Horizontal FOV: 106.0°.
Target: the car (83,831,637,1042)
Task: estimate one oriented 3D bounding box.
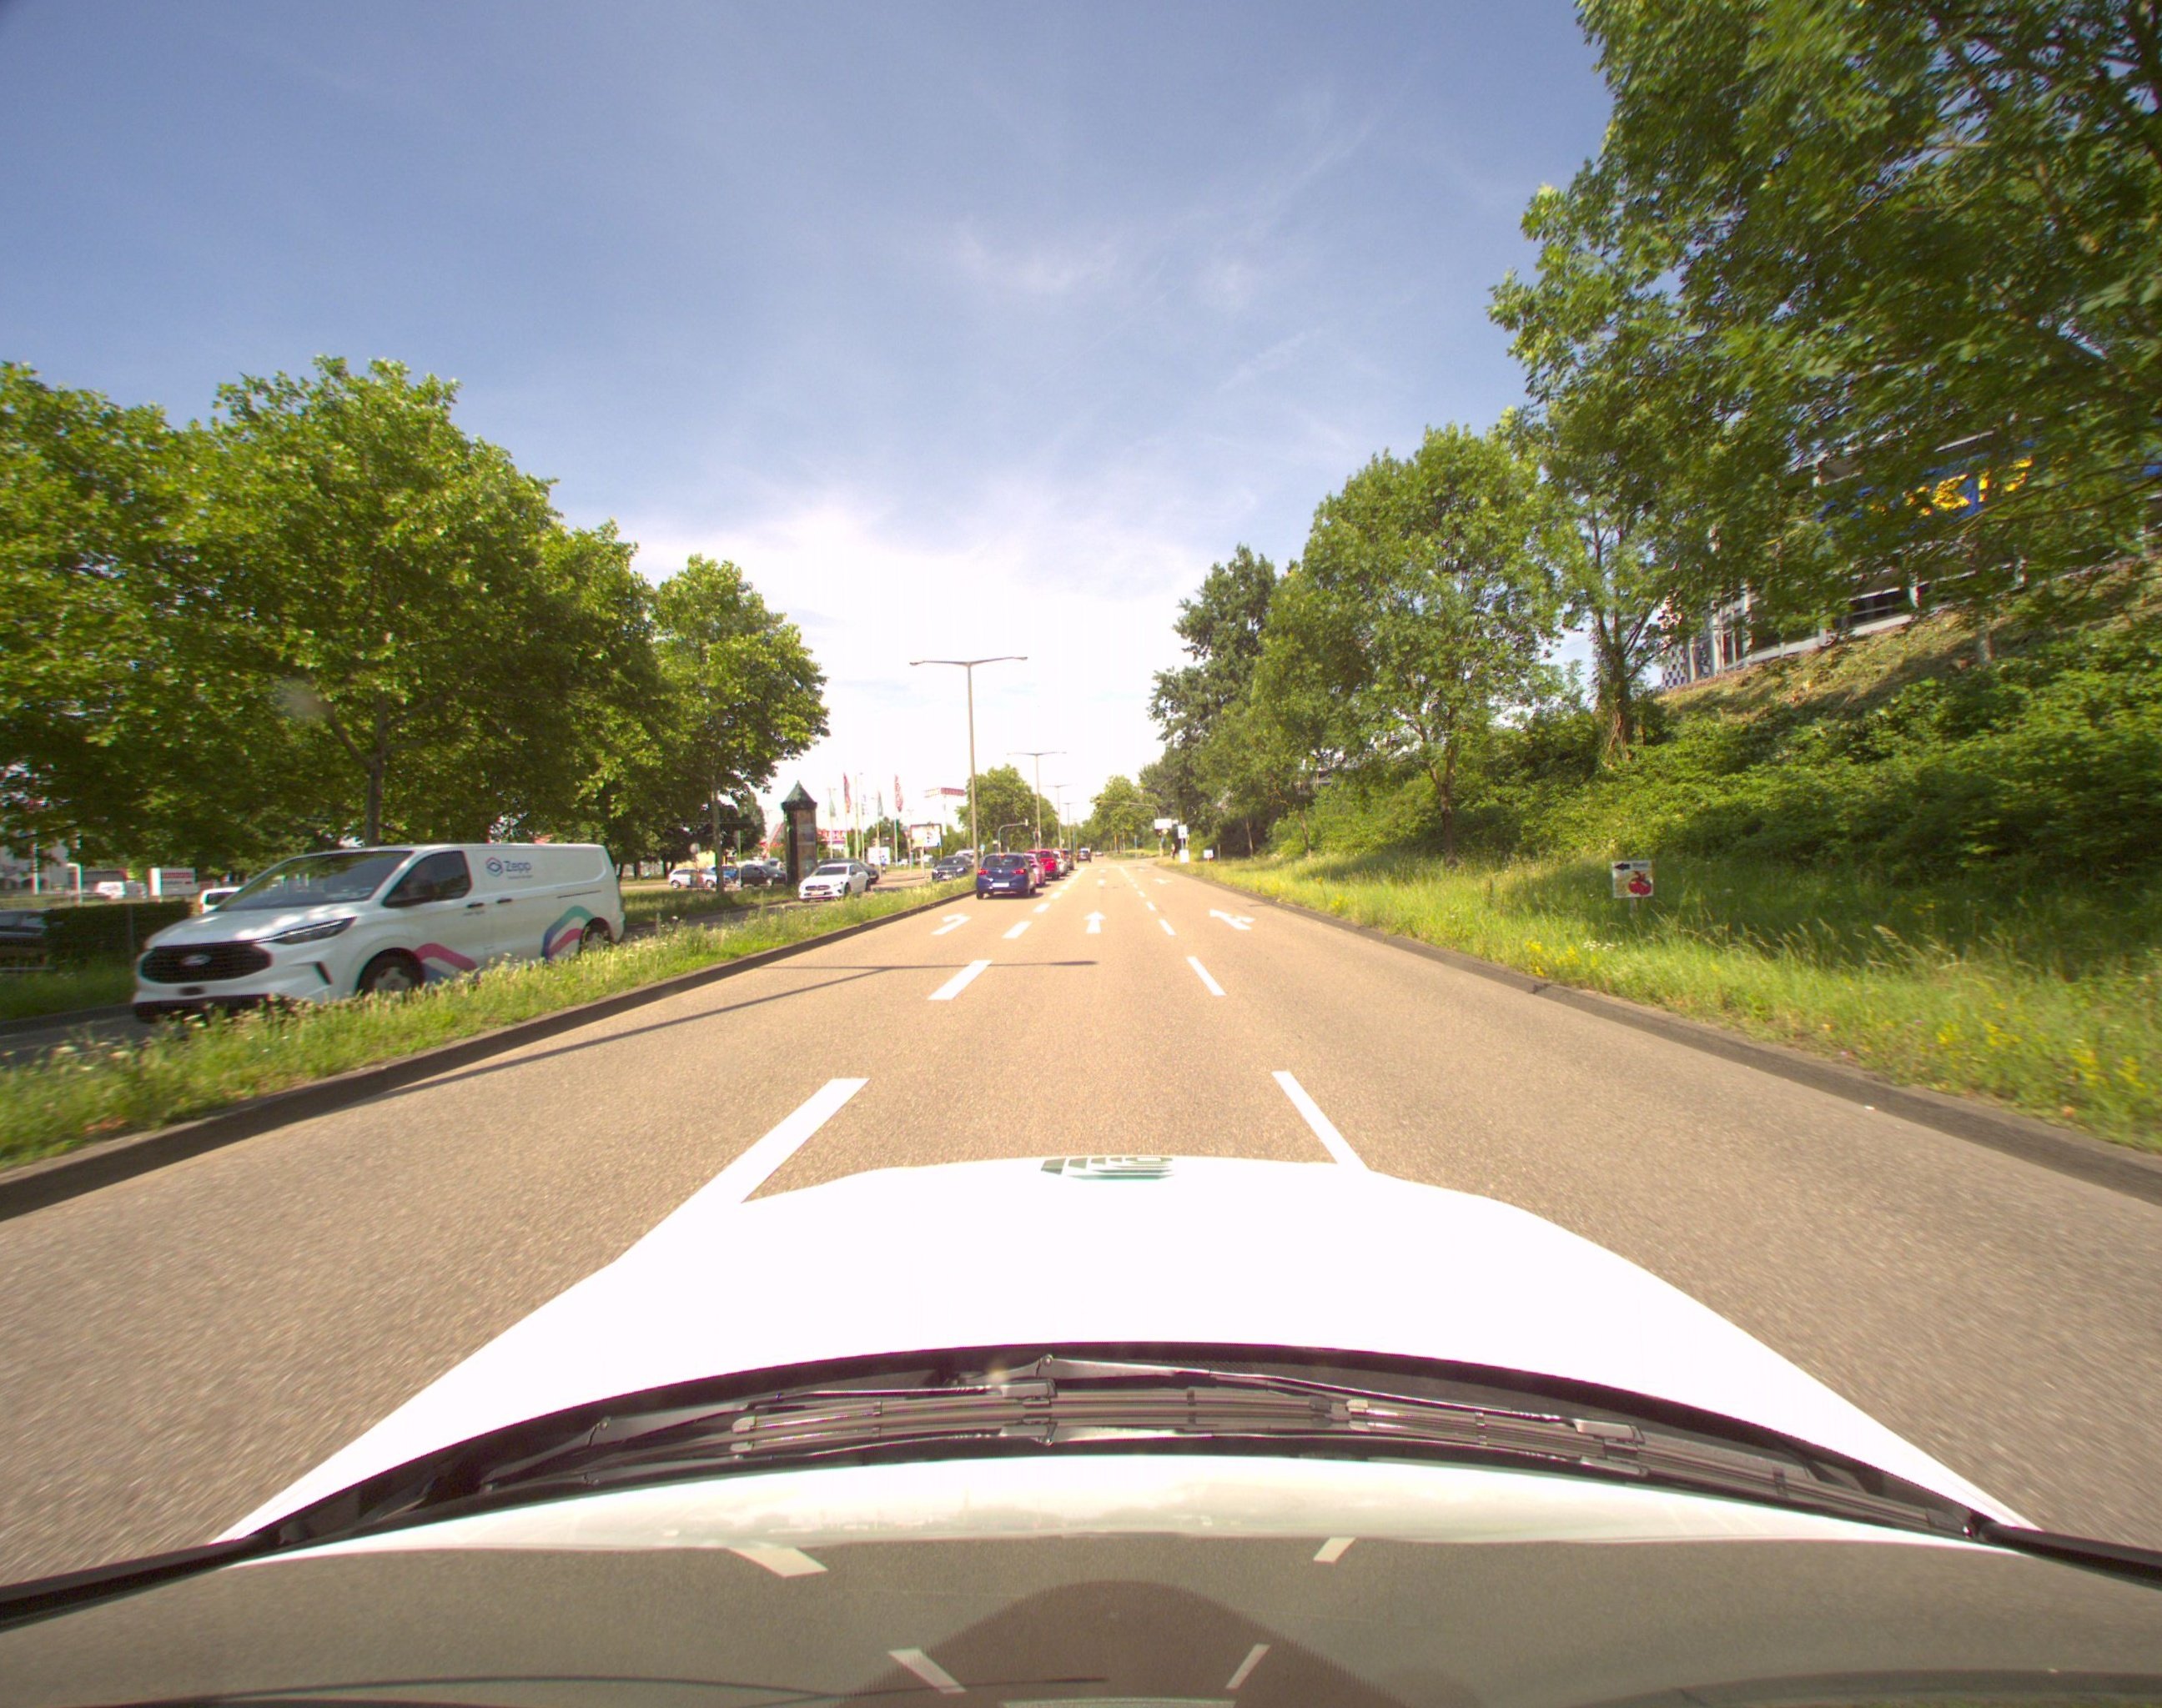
[{"bbox_3d":[-8.284,0.768,10.399,2.110,1.883,5.419,-3,0,0],"label":"car"}]

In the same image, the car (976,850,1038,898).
[{"bbox_3d":[-2.425,0.624,27.470,1.620,1.483,4.049,-1,0,1],"label":"car"}]

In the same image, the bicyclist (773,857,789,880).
[{"bbox_3d":[-23.058,1.109,62.591,0.904,1.646,0.780,-3,3,-35],"label":"bicyclist"}]

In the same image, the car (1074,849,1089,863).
[{"bbox_3d":[0.117,0.273,103.823,1.730,1.535,4.003,-2,2,2],"label":"car"}]

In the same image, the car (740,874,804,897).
[{"bbox_3d":[-20.858,2.112,54.925,3.949,1.388,1.776,-2,1,28],"label":"car"}]

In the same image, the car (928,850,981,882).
[{"bbox_3d":[-6.909,0.614,44.862,1.986,1.530,4.684,-3,0,2],"label":"car"}]

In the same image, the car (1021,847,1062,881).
[{"bbox_3d":[-2.012,0.471,42.260,1.776,1.593,4.594,-1,0,1],"label":"car"}]

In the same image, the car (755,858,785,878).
[{"bbox_3d":[-40.661,1.848,106.414,2.011,2.532,4.583,-3,0,-42],"label":"car"}]

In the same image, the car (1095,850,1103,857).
[{"bbox_3d":[4.183,-0.193,189.050,1.861,1.574,4.002,-3,0,2],"label":"car"}]

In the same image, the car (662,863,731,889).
[{"bbox_3d":[-26.803,1.515,56.792,4.121,1.603,1.729,-3,0,13],"label":"car"}]

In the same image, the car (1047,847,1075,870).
[{"bbox_3d":[-1.499,0.347,61.711,1.875,1.618,4.213,-2,0,1],"label":"car"}]

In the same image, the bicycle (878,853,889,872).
[{"bbox_3d":[-17.479,0.779,72.171,0.671,1.615,0.991,-3,0,-4],"label":"bicycle"}]

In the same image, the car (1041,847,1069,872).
[{"bbox_3d":[-1.751,0.376,55.051,1.623,1.595,3.918,-2,-1,1],"label":"car"}]

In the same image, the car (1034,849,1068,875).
[{"bbox_3d":[-1.762,0.428,48.551,1.760,1.479,4.136,-1,0,1],"label":"car"}]

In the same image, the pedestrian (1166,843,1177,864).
[{"bbox_3d":[8.344,-0.052,75.356,0.835,1.932,0.771,-2,2,-2],"label":"pedestrian"}]

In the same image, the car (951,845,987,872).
[{"bbox_3d":[-9.212,0.350,67.490,1.986,2.013,5.215,-3,0,1],"label":"car"}]

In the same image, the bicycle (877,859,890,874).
[{"bbox_3d":[-17.458,1.133,72.093,0.671,1.256,2.244,-3,0,-4],"label":"bicycle"}]

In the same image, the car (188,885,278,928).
[{"bbox_3d":[-37.748,2.268,36.383,2.010,1.665,4.789,-3,0,-38],"label":"car"}]

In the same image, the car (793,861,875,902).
[{"bbox_3d":[-9.820,1.052,32.743,1.780,1.398,4.360,-4,0,2],"label":"car"}]

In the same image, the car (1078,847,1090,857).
[{"bbox_3d":[0.616,-0.412,160.128,1.986,1.708,4.265,-2,0,2],"label":"car"}]

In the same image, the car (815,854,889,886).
[{"bbox_3d":[-14.324,1.001,50.886,4.343,1.750,1.881,-3,0,31],"label":"car"}]

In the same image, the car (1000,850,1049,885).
[{"bbox_3d":[-2.361,0.547,35.101,1.696,1.390,4.473,-1,0,1],"label":"car"}]

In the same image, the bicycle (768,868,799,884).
[{"bbox_3d":[-22.901,1.671,62.697,2.019,1.039,0.736,-3,3,-35],"label":"bicycle"}]
